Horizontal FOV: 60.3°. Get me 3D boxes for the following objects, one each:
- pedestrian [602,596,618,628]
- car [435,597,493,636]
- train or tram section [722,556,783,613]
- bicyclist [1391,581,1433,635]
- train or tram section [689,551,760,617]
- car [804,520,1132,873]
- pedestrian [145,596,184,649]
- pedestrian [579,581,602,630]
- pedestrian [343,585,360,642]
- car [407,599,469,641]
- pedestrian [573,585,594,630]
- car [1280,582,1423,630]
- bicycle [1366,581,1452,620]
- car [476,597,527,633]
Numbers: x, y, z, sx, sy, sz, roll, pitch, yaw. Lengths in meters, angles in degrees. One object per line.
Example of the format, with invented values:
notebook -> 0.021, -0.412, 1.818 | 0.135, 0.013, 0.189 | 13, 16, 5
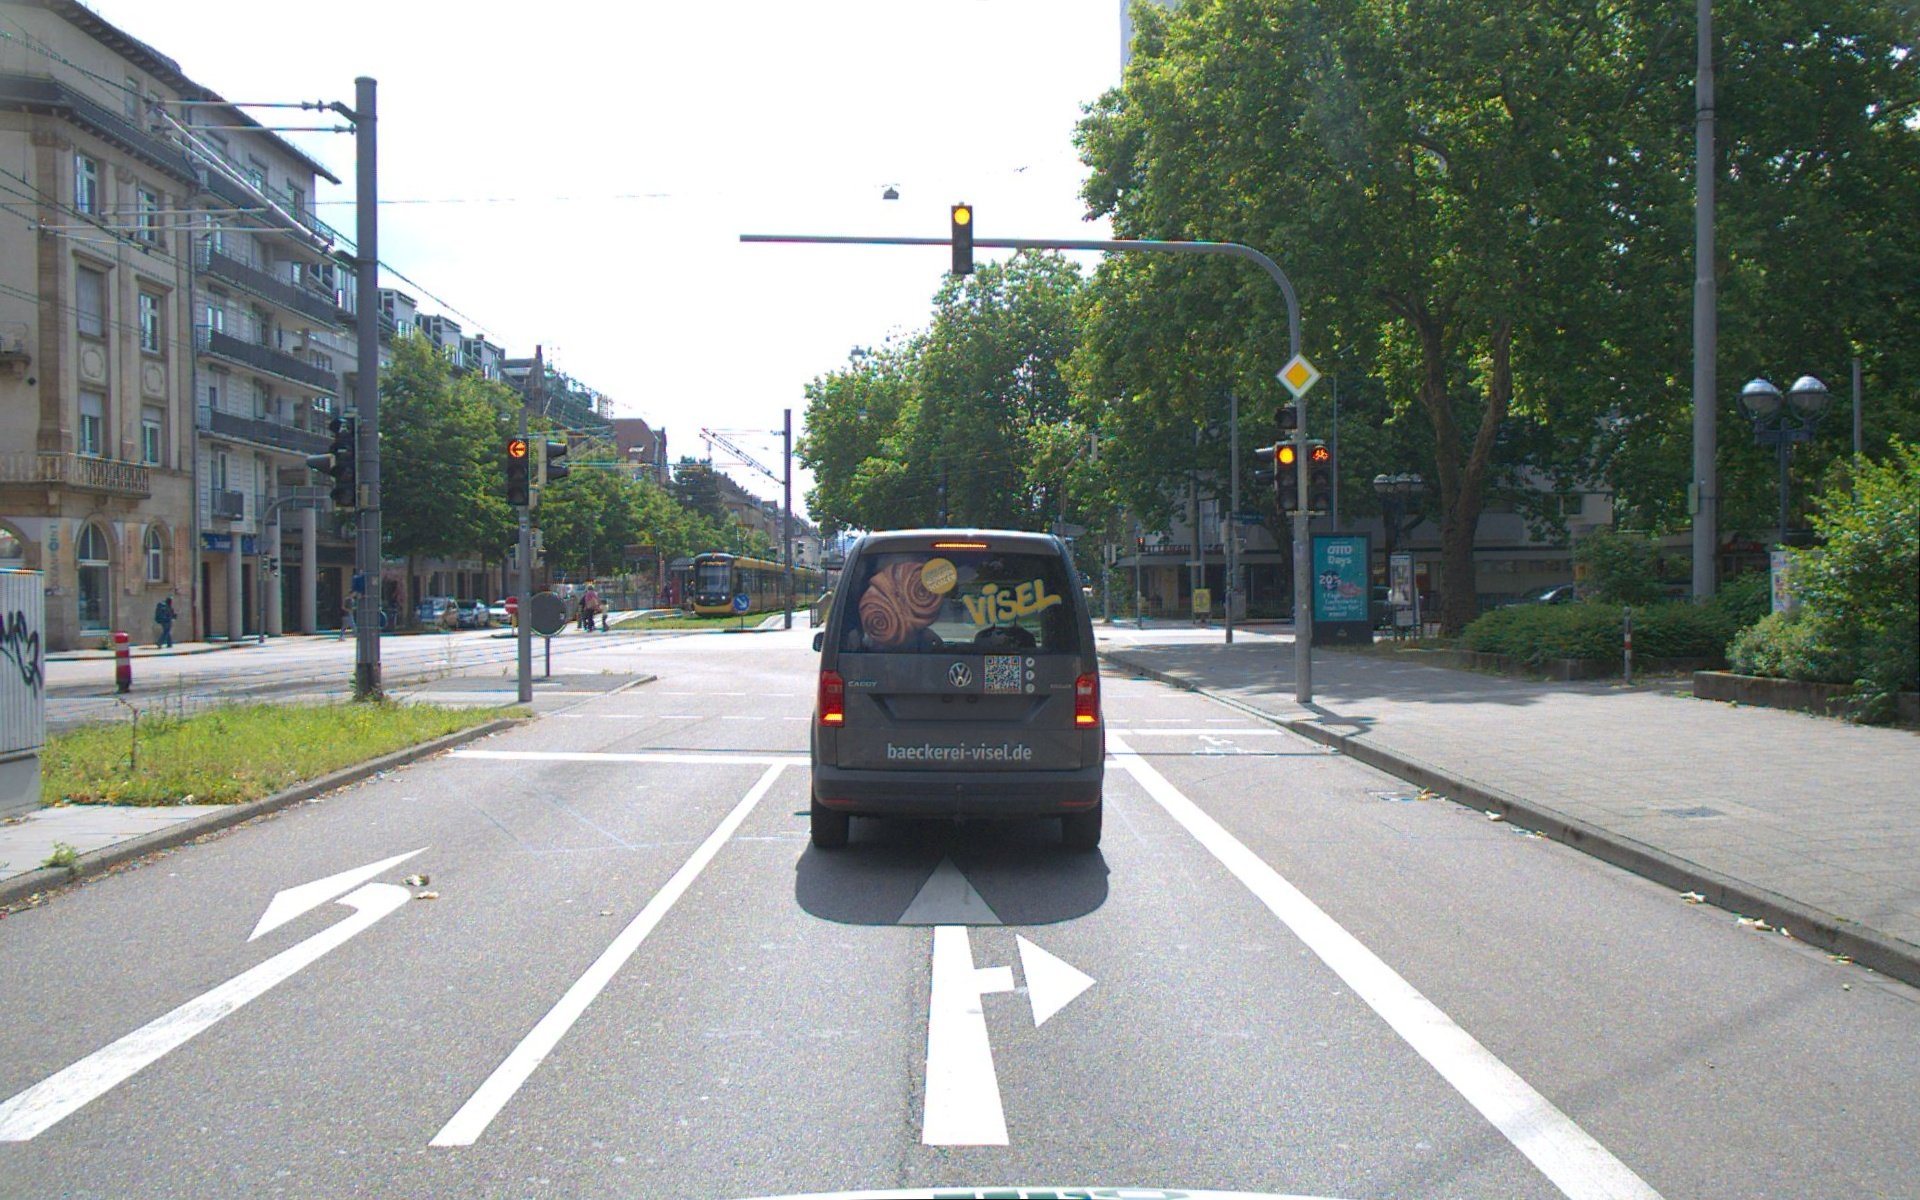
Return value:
pedestrian -> -12.947, 0.458, 61.199 | 0.454, 1.164, 0.435 | -1, 0, -1
car -> -27.128, 0.868, 90.627 | 1.953, 2.049, 3.999 | -1, 0, -1
train or tram section -> -13.192, -0.993, 106.214 | 2.195, 3.389, 14.012 | -1, 1, -1
bicyclist -> 13.294, 0.232, 48.614 | 0.977, 1.538, 0.780 | -1, 0, -3
train or tram section -> -13.086, -0.890, 92.743 | 2.195, 3.389, 12.970 | -1, 1, -1
car -> 0.027, 0.493, 10.429 | 1.715, 1.840, 3.474 | 0, 0, -1
pedestrian -> -25.286, 0.711, 52.565 | 0.677, 1.623, 0.862 | -1, 0, 22
pedestrian -> -13.634, 0.201, 61.013 | 0.646, 1.815, 0.660 | -1, 0, -1
pedestrian -> -22.279, 0.489, 60.567 | 0.468, 2.049, 0.419 | -1, 0, -6
car -> -27.076, 1.028, 85.894 | 1.953, 2.049, 3.999 | -1, 0, -1
pedestrian -> -14.704, 0.293, 64.681 | 0.646, 1.714, 0.655 | -1, 0, -1
car -> 12.734, 0.180, 53.733 | 4.423, 1.414, 1.693 | -1, 0, -25
bicycle -> 13.165, 0.007, 48.497 | 2.256, 1.066, 0.896 | -1, 0, -4
car -> -27.436, 0.847, 99.129 | 1.953, 2.049, 3.999 | -1, 0, -1
